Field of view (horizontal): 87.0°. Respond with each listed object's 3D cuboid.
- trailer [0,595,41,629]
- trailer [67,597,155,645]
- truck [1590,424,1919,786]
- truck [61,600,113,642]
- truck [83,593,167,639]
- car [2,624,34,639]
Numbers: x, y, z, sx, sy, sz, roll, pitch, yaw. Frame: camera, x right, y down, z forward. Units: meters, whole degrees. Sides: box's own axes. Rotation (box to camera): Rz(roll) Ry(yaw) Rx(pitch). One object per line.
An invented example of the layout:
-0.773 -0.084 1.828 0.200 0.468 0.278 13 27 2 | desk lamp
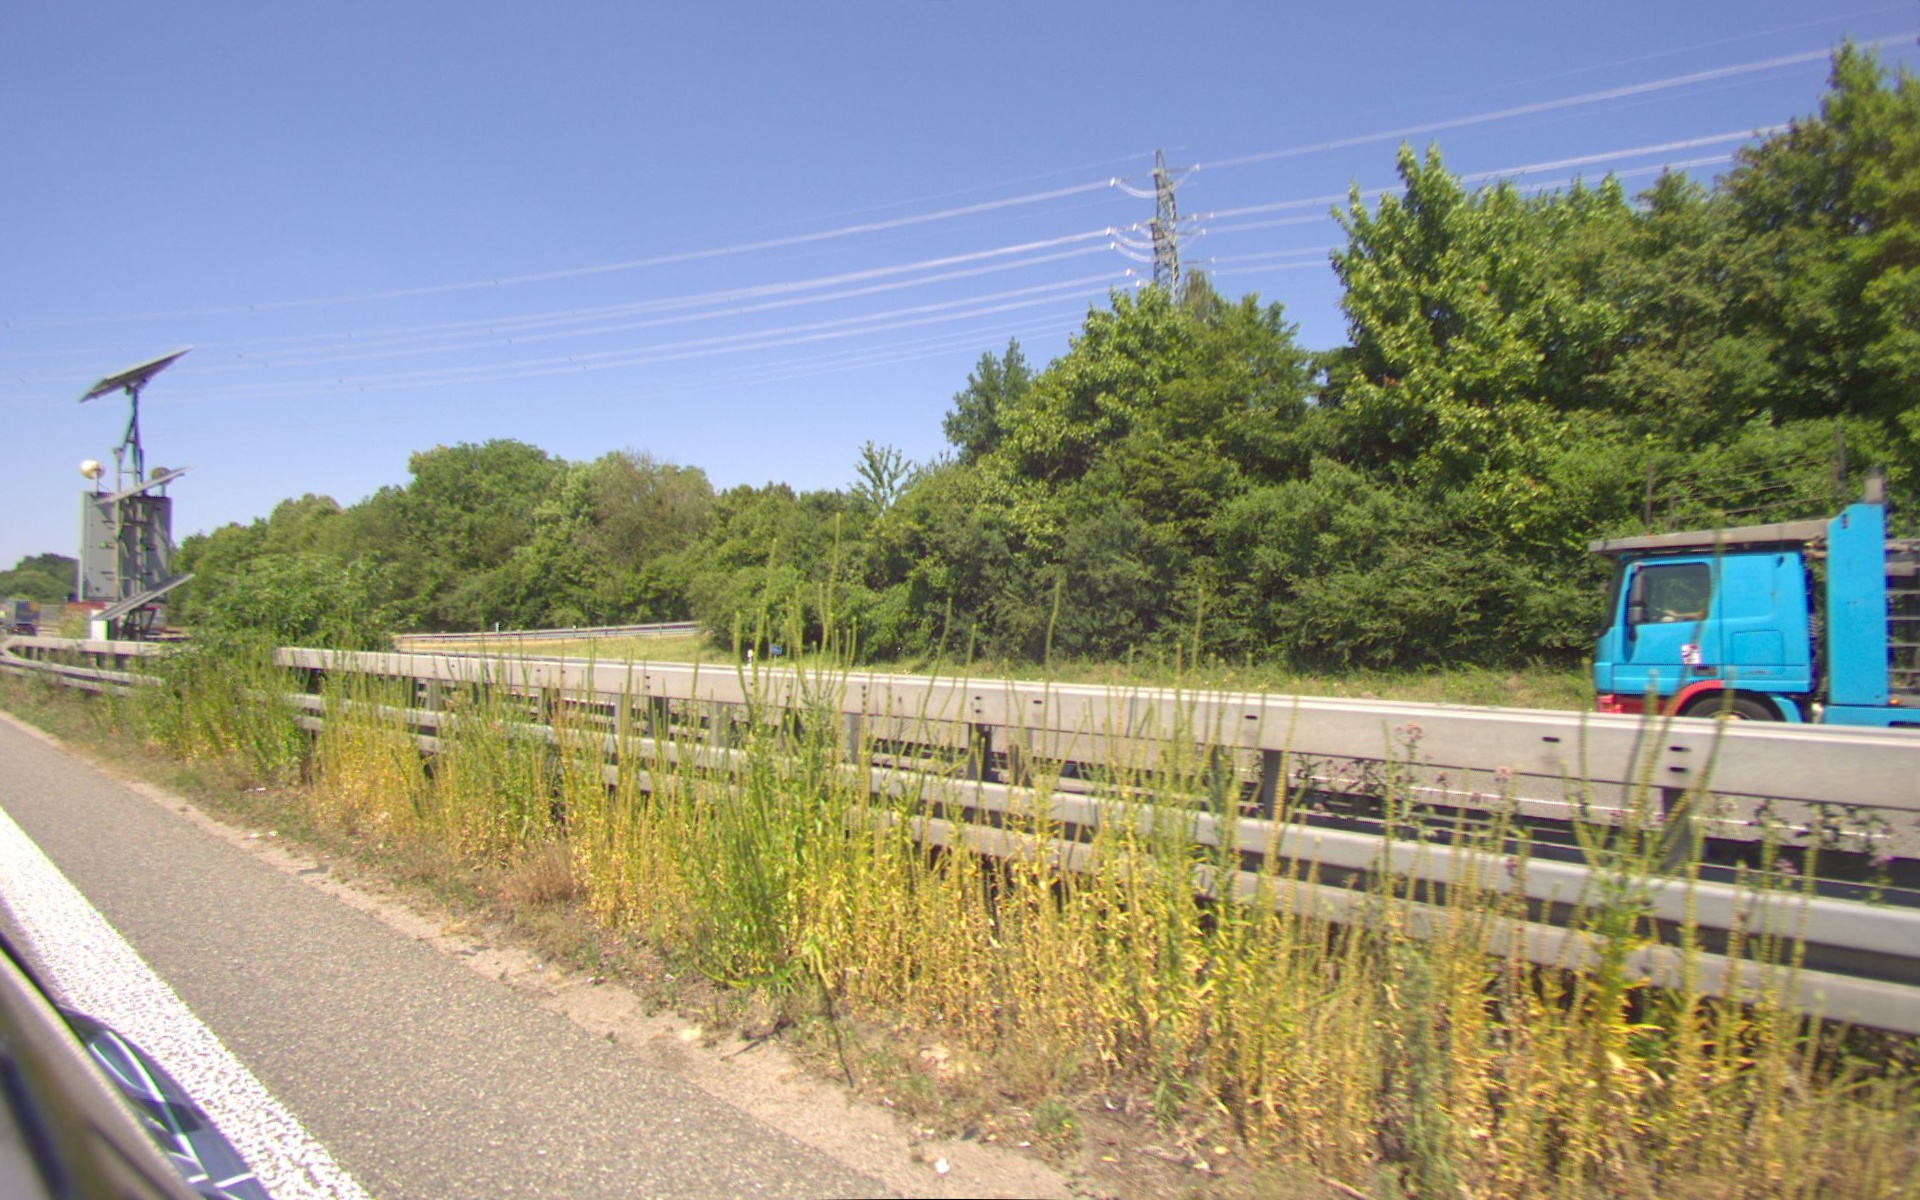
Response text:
-125.779 1.655 135.297 13.813 4.374 3.140 -1 -2 43 | trailer
-68.969 1.722 82.013 16.015 3.586 2.965 -1 -2 41 | trailer
12.918 0.047 10.235 10.784 3.831 2.965 -1 -2 41 | truck
-76.142 1.835 88.296 3.116 3.586 2.965 -1 -2 41 | truck
-91.906 1.881 111.226 14.503 4.374 2.972 -3 -3 33 | truck
-90.322 3.038 97.040 4.919 1.344 1.751 -1 -3 41 | car
